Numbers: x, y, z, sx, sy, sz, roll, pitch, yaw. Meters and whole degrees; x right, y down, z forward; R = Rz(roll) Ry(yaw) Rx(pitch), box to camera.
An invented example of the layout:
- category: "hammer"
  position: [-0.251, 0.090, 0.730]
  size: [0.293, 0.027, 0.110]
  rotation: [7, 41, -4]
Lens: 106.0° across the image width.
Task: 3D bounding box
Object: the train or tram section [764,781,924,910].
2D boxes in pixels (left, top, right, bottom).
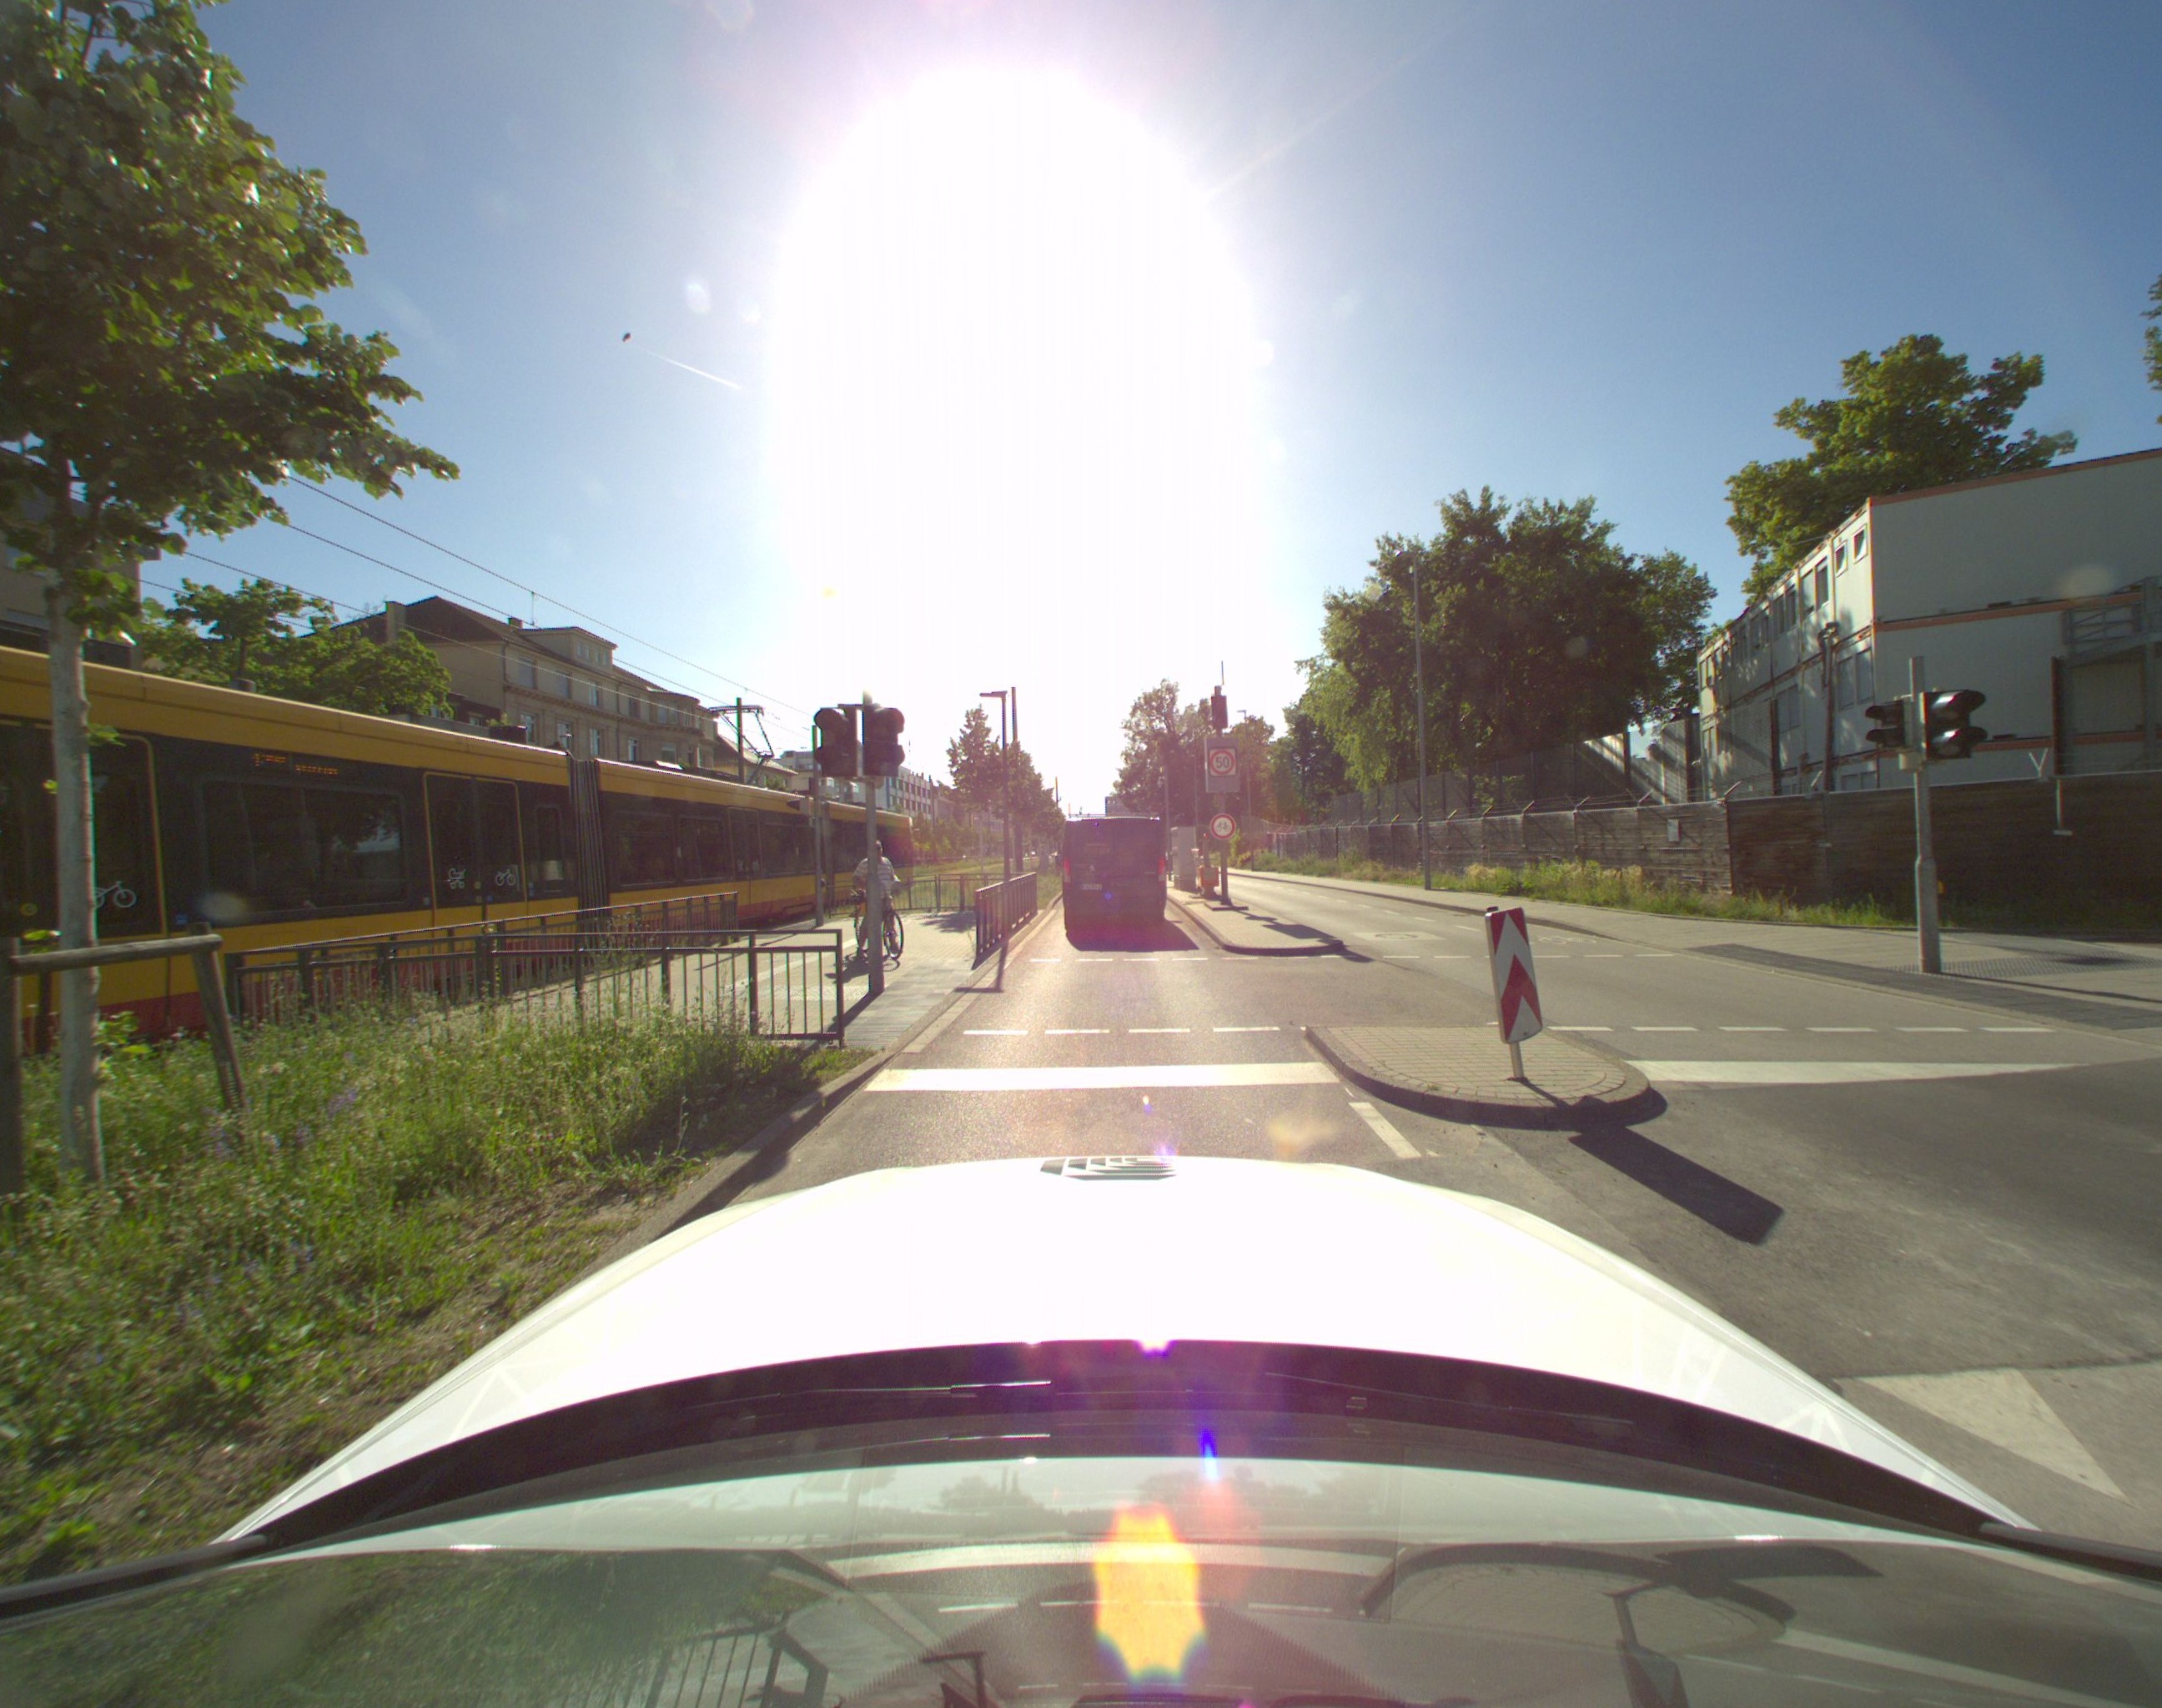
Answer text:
- category: "train or tram section"
  position: [-7.947, -0.265, 29.266]
  size: [1.986, 3.669, 11.687]
  rotation: [-1, 0, 2]

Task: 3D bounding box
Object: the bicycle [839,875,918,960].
- category: "bicycle"
  position: [-3.038, 0.888, 12.062]
  size: [0.736, 1.091, 2.066]
  rotation: [-1, 0, -25]

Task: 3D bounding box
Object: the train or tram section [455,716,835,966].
- category: "train or tram section"
  position: [-8.203, -0.207, 17.774]
  size: [1.986, 3.669, 11.318]
  rotation: [-1, 0, 1]

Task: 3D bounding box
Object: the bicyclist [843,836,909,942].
- category: "bicyclist"
  position: [-3.072, 0.503, 12.173]
  size: [0.830, 1.512, 0.724]
  rotation: [-1, 0, -25]

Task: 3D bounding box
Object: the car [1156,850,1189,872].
- category: "car"
  position: [6.222, 0.453, 55.953]
  size: [1.758, 1.462, 3.999]
  rotation: [-1, 0, -1]

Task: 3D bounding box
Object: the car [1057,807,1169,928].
- category: "car"
  position: [0.640, 0.250, 17.445]
  size: [2.075, 2.248, 4.000]
  rotation: [-1, 0, 1]

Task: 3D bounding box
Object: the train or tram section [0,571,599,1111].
- category: "train or tram section"
  position: [-8.328, -0.076, 5.144]
  size: [1.987, 3.669, 14.152]
  rotation: [-1, 0, 0]
